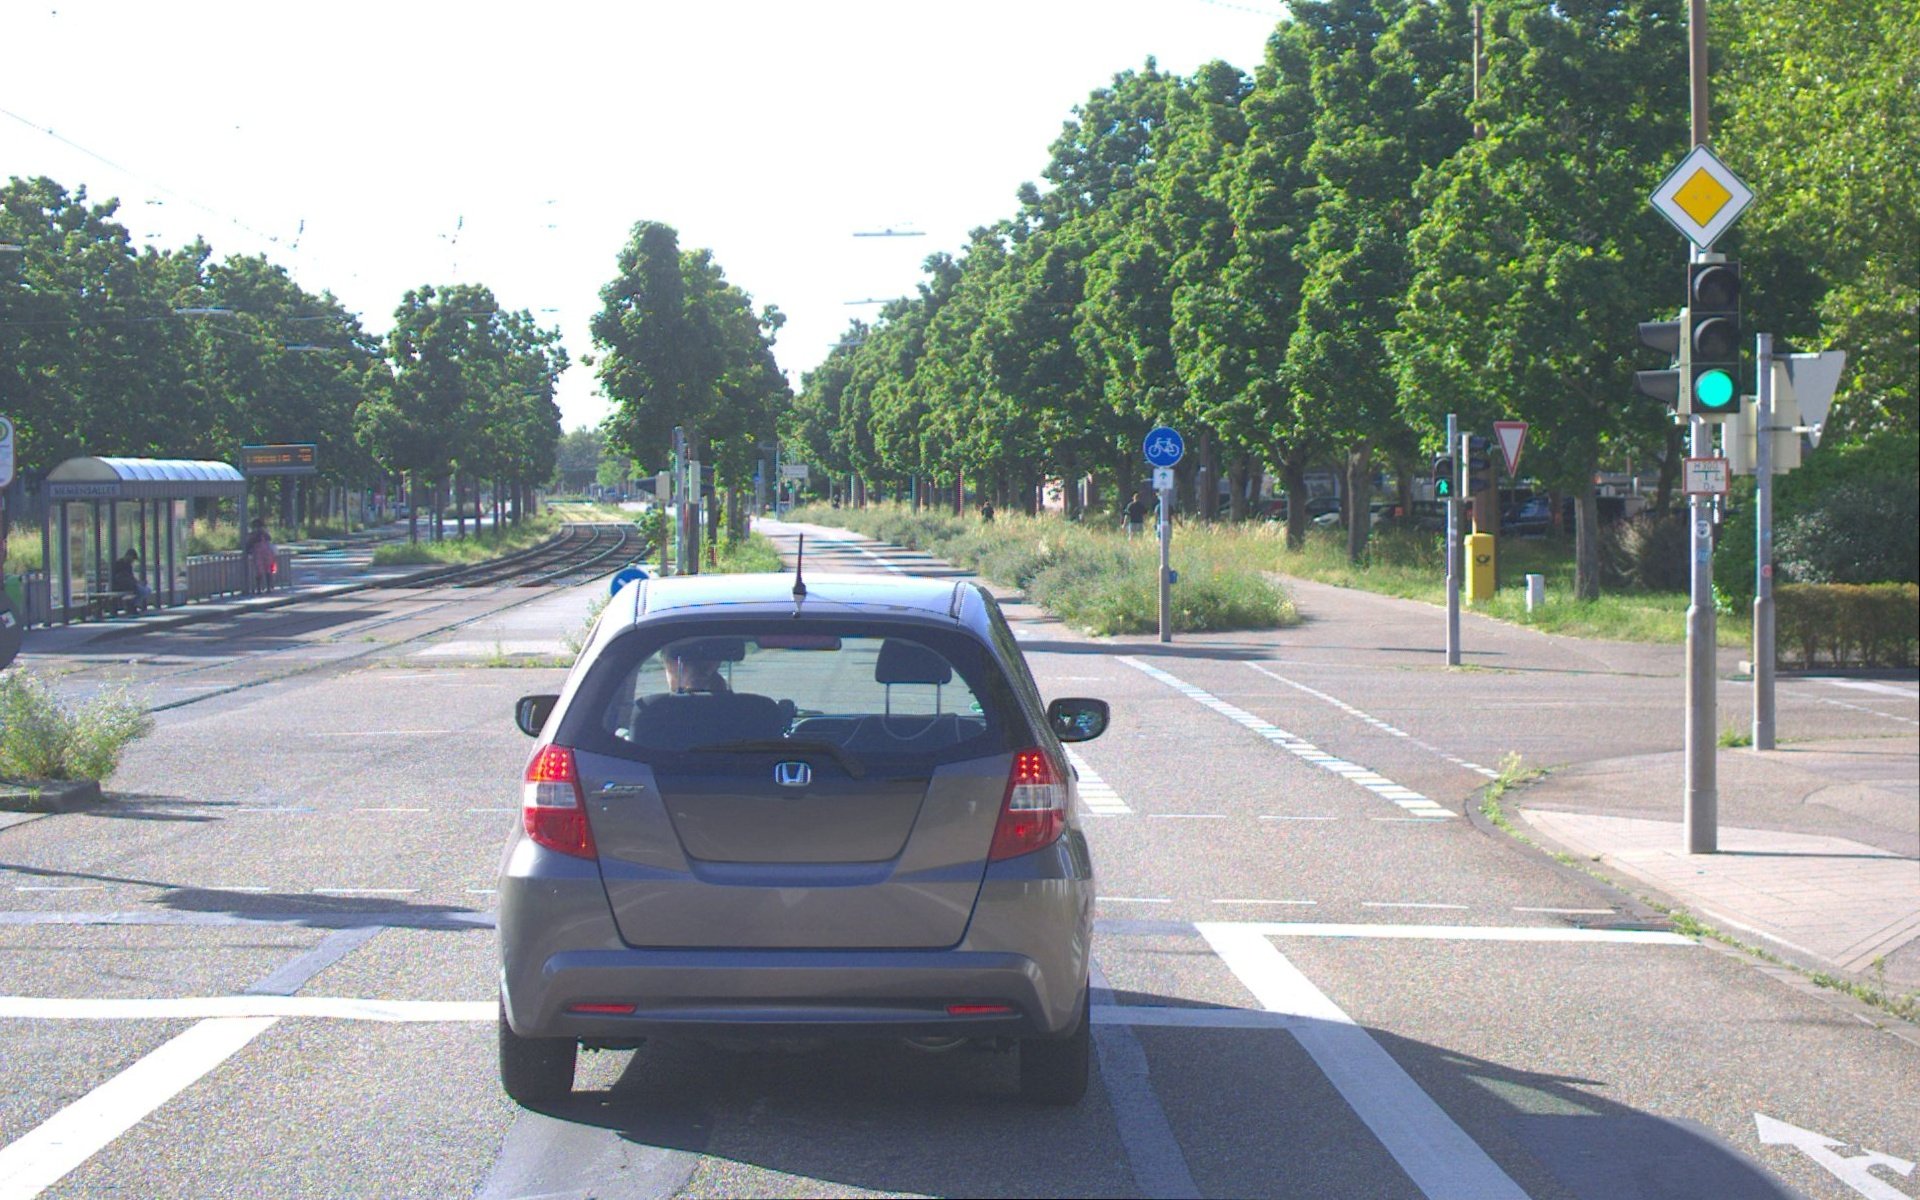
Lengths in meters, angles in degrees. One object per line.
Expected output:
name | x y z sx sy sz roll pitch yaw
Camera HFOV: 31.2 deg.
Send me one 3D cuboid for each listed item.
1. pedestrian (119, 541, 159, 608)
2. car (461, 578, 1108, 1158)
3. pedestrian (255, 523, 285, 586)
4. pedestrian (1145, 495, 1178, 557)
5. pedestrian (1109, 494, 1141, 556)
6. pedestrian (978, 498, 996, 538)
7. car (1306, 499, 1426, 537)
pedestrian | -15.532 -0.485 65.054 0.563 1.252 0.581 -3 1 -1
car | -0.485 0.698 10.950 1.701 1.518 3.709 0 0 -1
pedestrian | -15.981 -1.051 79.612 0.544 1.442 0.559 -1 1 -1
pedestrian | 6.164 -2.280 105.160 0.882 1.877 0.875 -1 1 -4
pedestrian | 5.043 -2.290 105.130 0.882 1.877 0.875 -1 1 -4
pedestrian | 1.141 -3.486 146.040 0.725 1.685 0.821 0 0 -3
car | 16.991 -3.428 144.054 4.630 1.550 2.001 -1 2 -6
